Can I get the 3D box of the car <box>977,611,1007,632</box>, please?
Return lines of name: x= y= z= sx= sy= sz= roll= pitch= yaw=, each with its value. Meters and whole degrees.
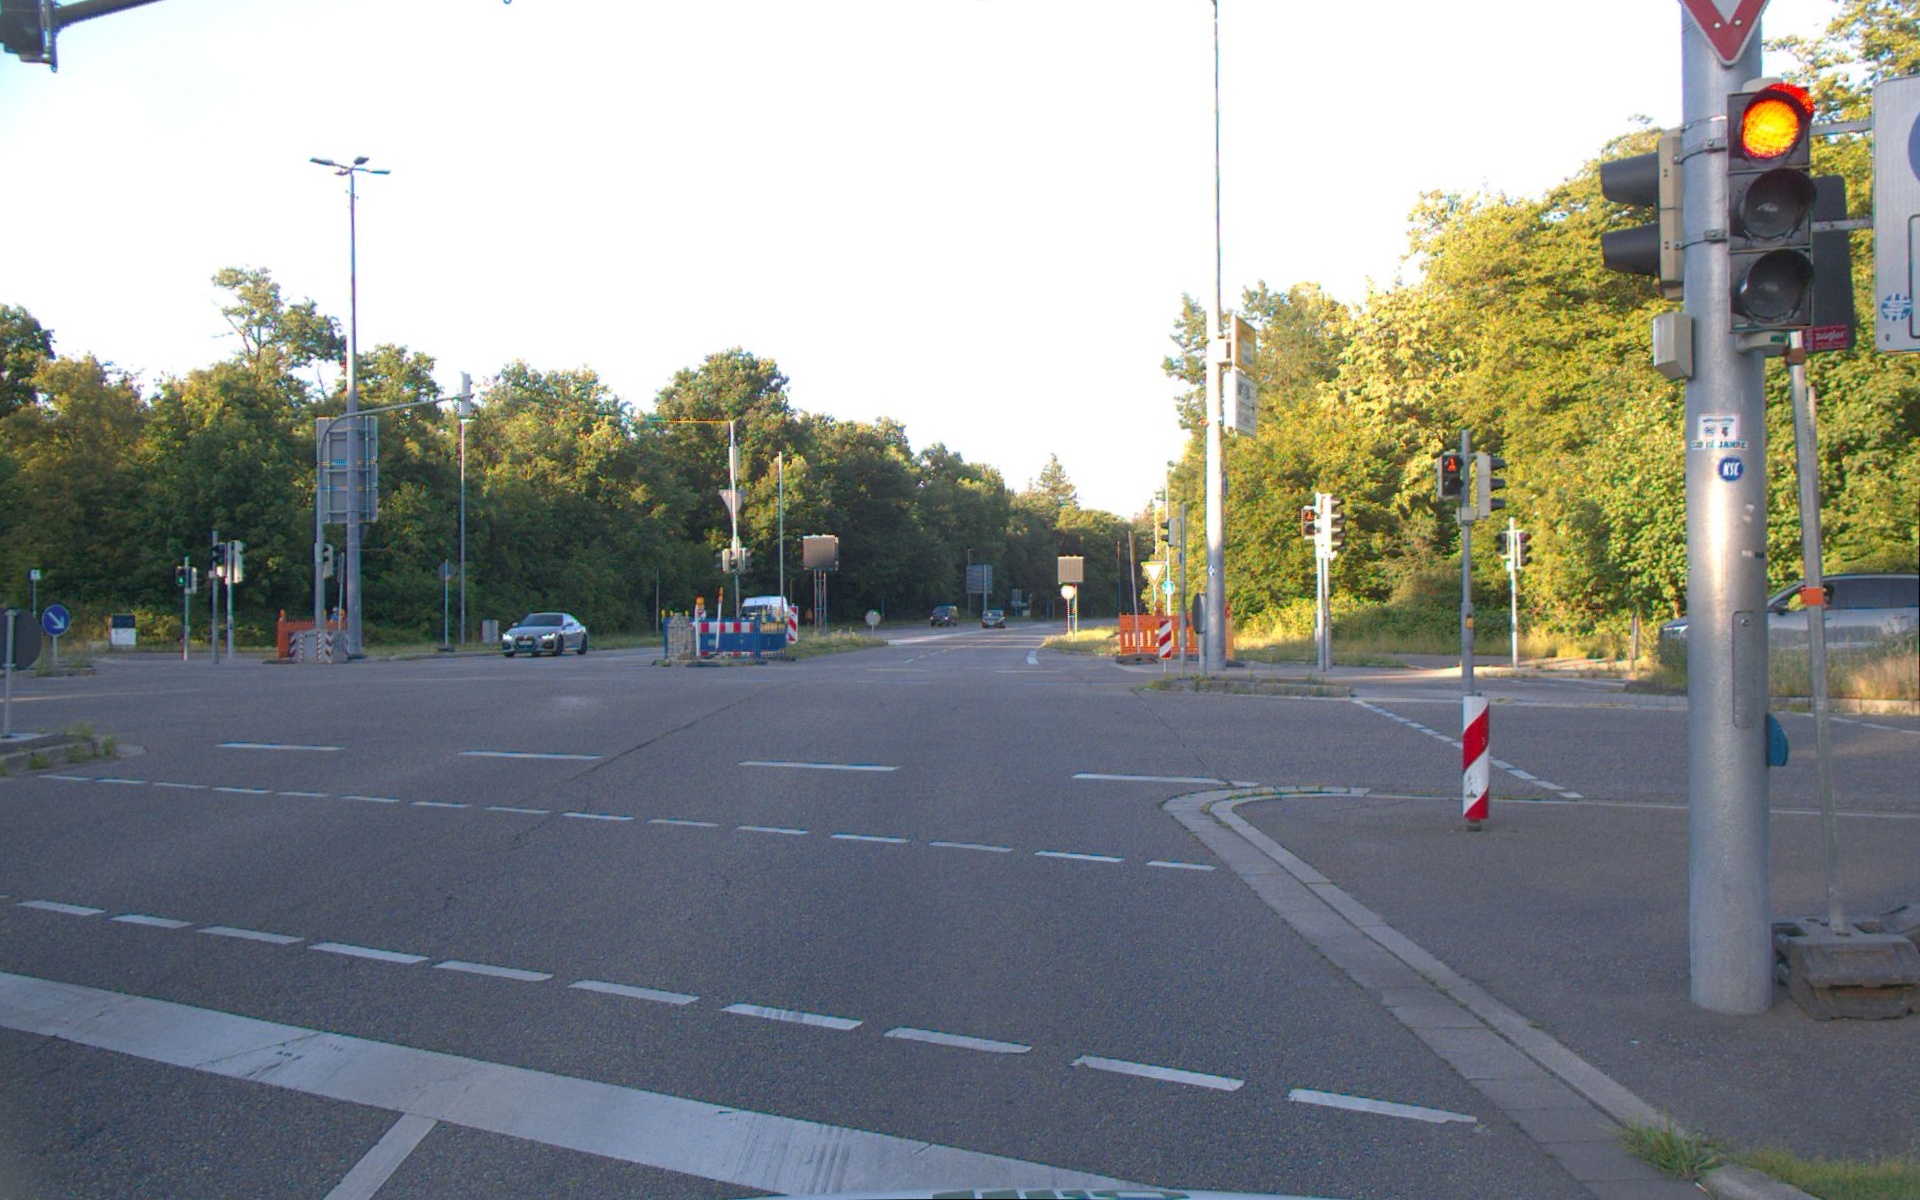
car: x=2.830 y=1.910 z=144.889 sx=1.951 sy=1.668 sz=4.004 roll=-2 pitch=1 yaw=11

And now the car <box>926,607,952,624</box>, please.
car: x=-2.046 y=1.514 z=163.523 sx=1.951 sy=1.668 sz=4.003 roll=0 pitch=0 yaw=7

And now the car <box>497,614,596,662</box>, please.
car: x=-13.581 y=1.234 z=54.530 sx=1.851 sy=1.466 sz=4.502 roll=0 pitch=0 yaw=4

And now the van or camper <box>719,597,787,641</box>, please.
van or camper: x=-12.957 y=1.155 z=104.008 sx=2.824 sy=2.699 sz=7.126 roll=0 pitch=0 yaw=5

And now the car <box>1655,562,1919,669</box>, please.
car: x=13.744 y=0.241 z=26.490 sx=4.716 sy=1.626 sz=2.000 roll=-1 pitch=0 yaw=21

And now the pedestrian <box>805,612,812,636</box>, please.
pedestrian: x=-12.935 y=2.027 z=141.173 sx=0.511 sy=2.049 sz=0.600 roll=1 pitch=-1 yaw=-1
